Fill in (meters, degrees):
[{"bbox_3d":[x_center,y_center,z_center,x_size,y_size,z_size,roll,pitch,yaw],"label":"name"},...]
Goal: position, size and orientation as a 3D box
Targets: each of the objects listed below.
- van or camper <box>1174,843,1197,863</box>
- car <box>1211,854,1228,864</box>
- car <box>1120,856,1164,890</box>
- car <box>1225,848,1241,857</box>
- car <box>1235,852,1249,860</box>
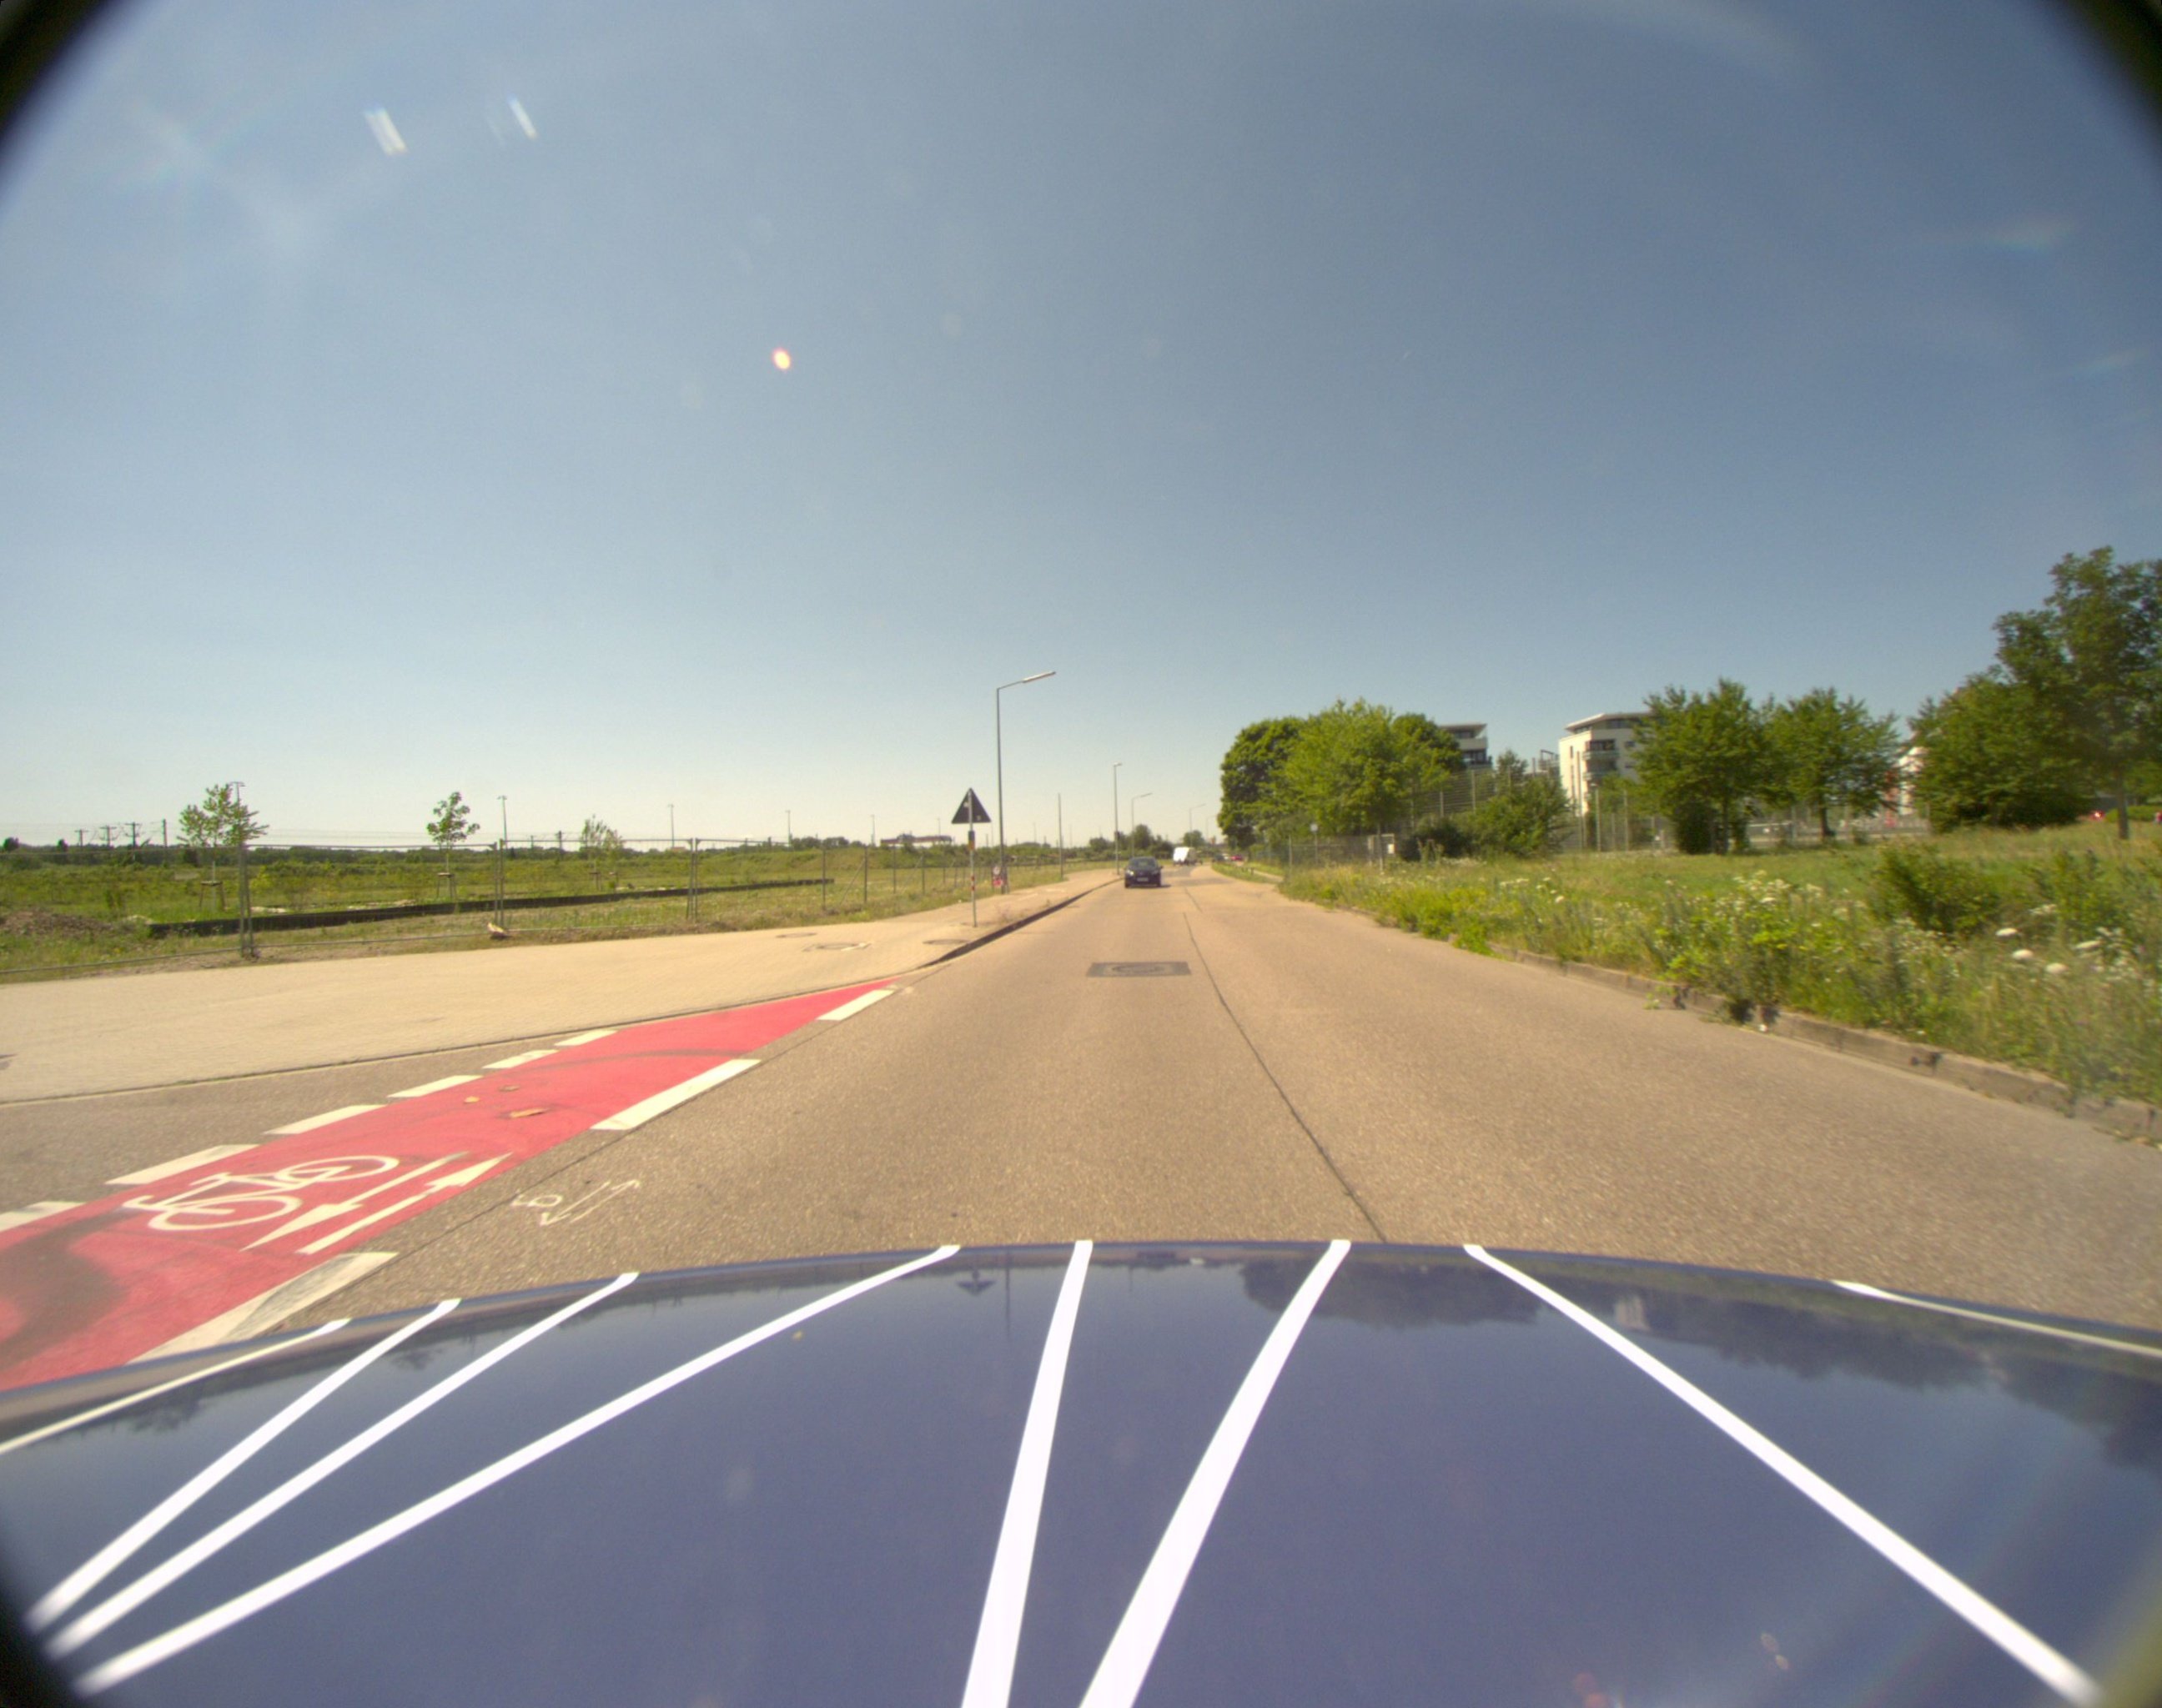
[{"bbox_3d":[14.580,-0.132,106.193,2.138,2.557,5.874,-2,0,17],"label":"van or camper"},{"bbox_3d":[23.200,0.815,127.337,1.651,1.458,3.873,-2,0,29],"label":"car"},{"bbox_3d":[2.958,0.877,36.179,1.652,1.458,4.163,-2,0,10],"label":"car"},{"bbox_3d":[26.475,-0.302,132.305,1.651,1.458,3.873,-2,0,30],"label":"car"},{"bbox_3d":[30.363,0.420,143.351,1.651,1.458,3.873,-2,0,27],"label":"car"}]
